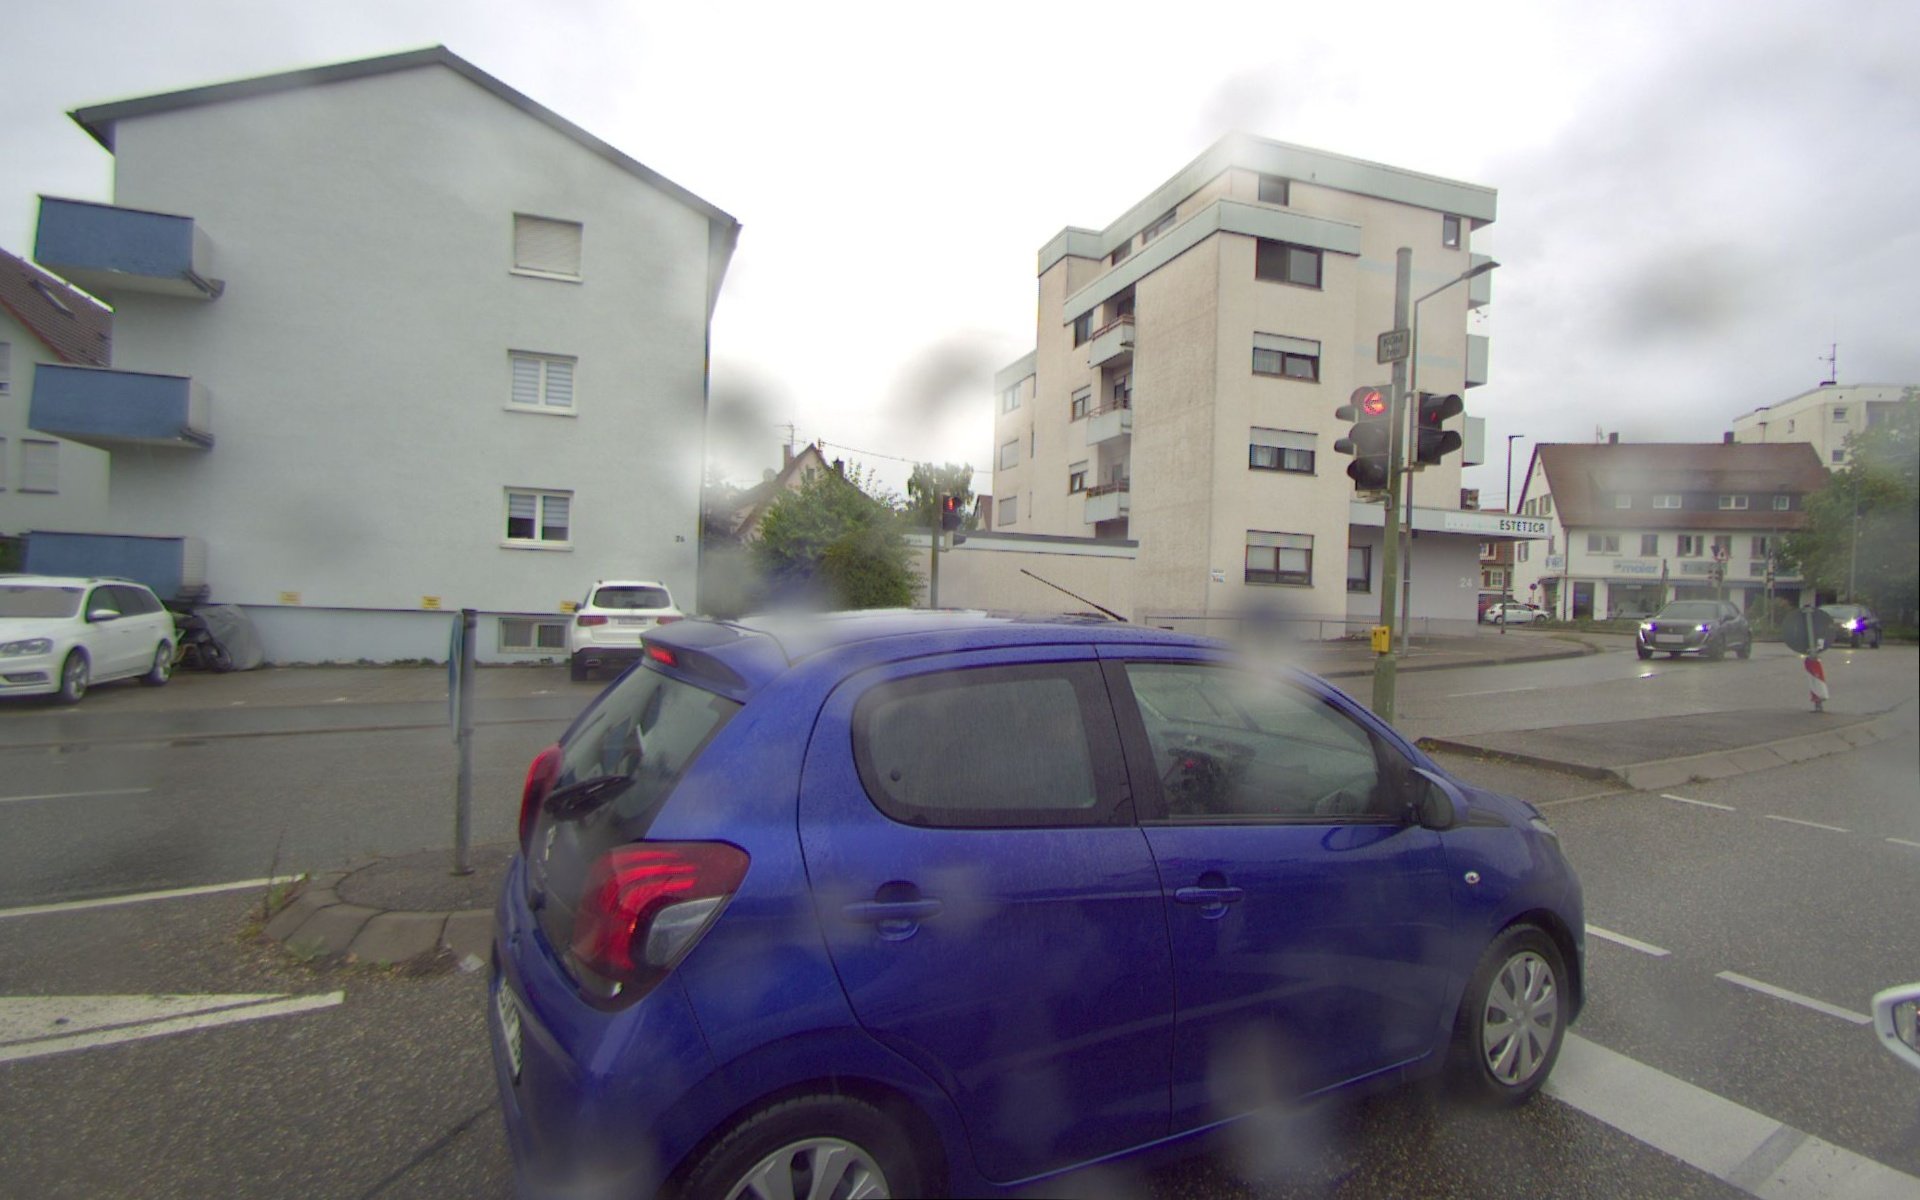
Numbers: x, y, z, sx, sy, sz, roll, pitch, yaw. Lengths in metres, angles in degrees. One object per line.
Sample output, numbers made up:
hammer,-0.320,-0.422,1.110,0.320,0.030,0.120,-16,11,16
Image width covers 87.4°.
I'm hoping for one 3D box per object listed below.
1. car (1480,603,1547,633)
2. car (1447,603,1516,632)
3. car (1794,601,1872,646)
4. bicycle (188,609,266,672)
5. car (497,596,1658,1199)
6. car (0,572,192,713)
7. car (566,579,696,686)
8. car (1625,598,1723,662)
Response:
car,37.923,1.235,68.891,3.611,1.946,1.889,2,0,14
car,37.215,1.240,71.721,3.987,1.868,1.889,2,0,14
car,34.288,0.924,39.413,4.154,1.618,1.861,2,0,-43
bicycle,-12.694,0.688,17.418,1.053,1.067,0.345,0,1,-30
car,0.468,0.740,3.097,3.324,1.432,1.498,1,1,-30
car,-11.481,0.456,12.502,1.854,1.480,4.732,1,-1,-23
car,-5.763,0.510,17.572,1.884,1.637,3.982,2,0,-19
car,18.923,0.777,26.644,1.941,1.532,3.986,2,0,36
